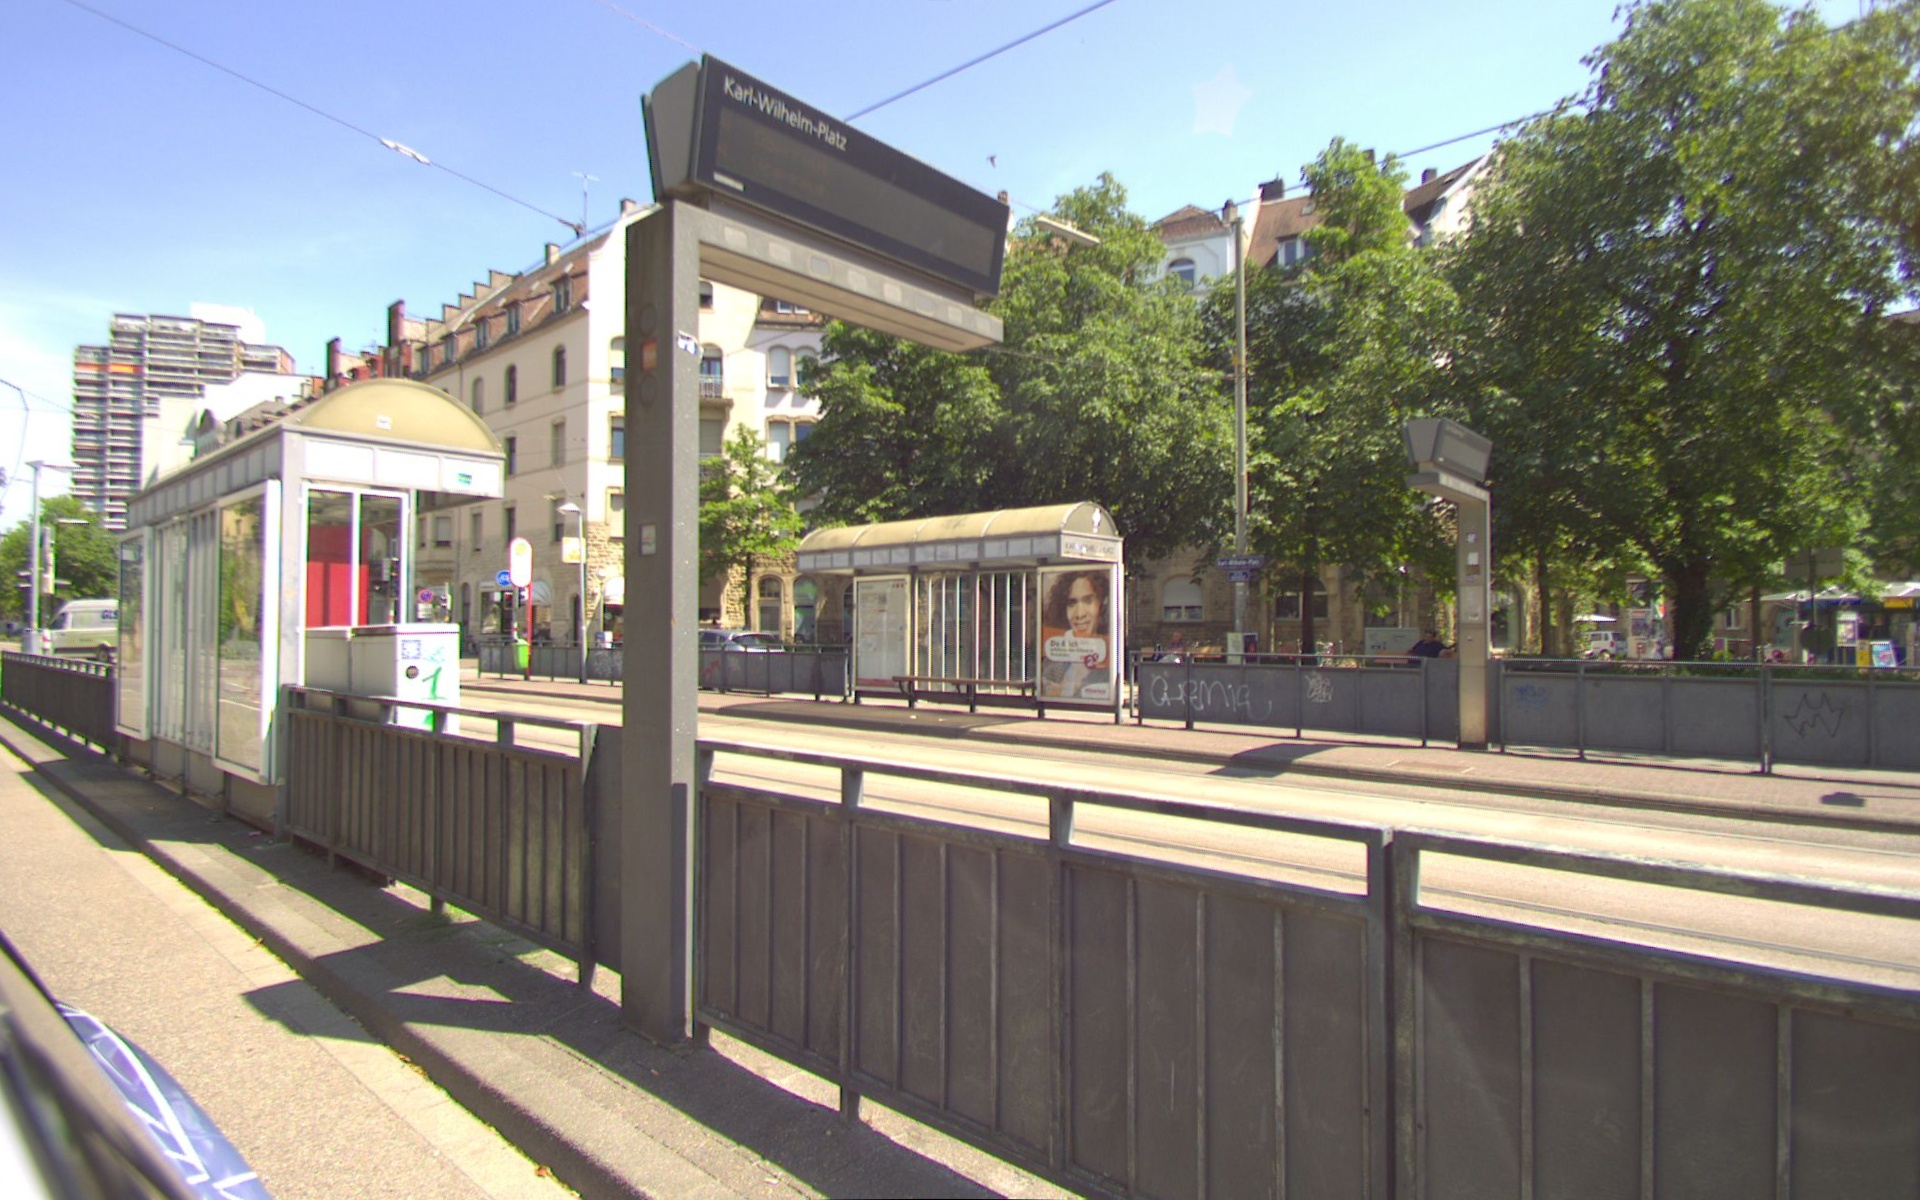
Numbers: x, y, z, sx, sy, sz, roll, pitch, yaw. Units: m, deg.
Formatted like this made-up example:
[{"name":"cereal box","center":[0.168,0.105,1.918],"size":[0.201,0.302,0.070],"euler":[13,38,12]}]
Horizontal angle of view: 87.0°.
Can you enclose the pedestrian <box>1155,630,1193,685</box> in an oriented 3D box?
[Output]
[{"name":"pedestrian","center":[5.100,1.349,24.057],"size":[0.679,1.253,0.833],"euler":[-1,0,27]}]

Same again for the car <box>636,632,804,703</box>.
[{"name":"car","center":[-5.592,1.482,23.354],"size":[3.998,1.404,1.789],"euler":[-1,0,41]}]

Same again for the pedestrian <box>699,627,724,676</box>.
[{"name":"pedestrian","center":[-7.977,1.651,32.487],"size":[0.473,1.563,0.586],"euler":[-2,-3,39]}]

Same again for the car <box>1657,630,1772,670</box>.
[{"name":"car","center":[35.795,2.338,48.092],"size":[1.736,1.721,3.998],"euler":[-1,0,-33]}]

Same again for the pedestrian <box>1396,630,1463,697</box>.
[{"name":"pedestrian","center":[9.288,1.232,20.032],"size":[0.852,1.253,0.939],"euler":[-1,0,-43]}]

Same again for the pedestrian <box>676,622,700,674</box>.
[{"name":"pedestrian","center":[-8.908,1.565,33.093],"size":[0.473,1.659,0.586],"euler":[-2,-3,41]}]

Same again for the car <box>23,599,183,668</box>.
[{"name":"car","center":[-34.909,1.326,41.253],"size":[5.778,2.693,2.261],"euler":[-1,0,18]}]

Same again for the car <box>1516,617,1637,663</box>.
[{"name":"car","center":[26.725,1.694,44.000],"size":[1.966,1.803,4.011],"euler":[-1,0,-33]}]
